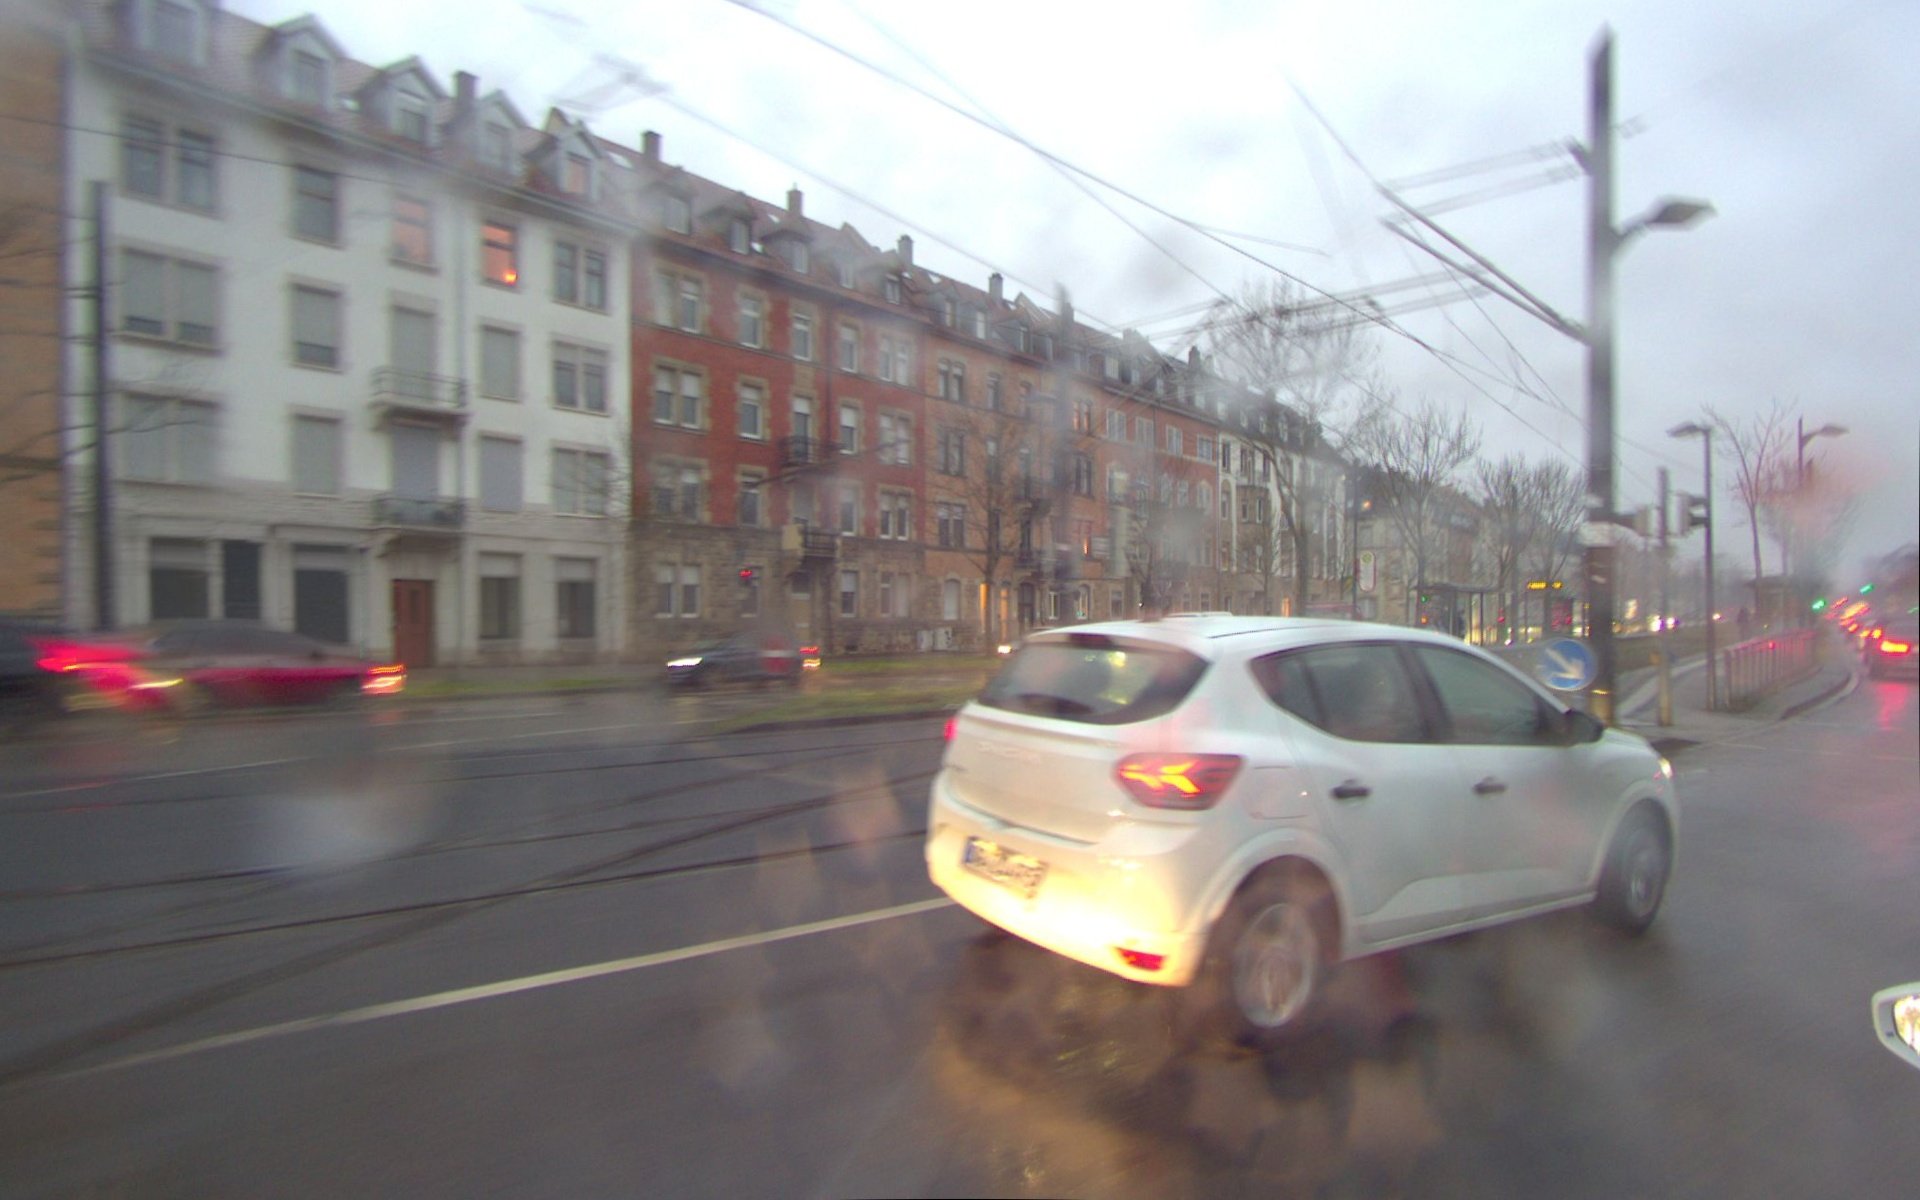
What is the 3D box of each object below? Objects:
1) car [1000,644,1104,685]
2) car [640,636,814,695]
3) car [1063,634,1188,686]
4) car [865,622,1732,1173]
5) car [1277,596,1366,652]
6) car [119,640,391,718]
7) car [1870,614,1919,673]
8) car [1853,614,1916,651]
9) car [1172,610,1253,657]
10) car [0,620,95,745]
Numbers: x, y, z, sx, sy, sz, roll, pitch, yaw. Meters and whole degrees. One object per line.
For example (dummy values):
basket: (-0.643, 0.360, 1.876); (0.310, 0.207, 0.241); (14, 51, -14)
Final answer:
car: (3.239, 2.184, 34.643); (1.519, 1.243, 4.067); (-1, -1, 40)
car: (-5.689, 1.567, 24.883); (1.519, 1.243, 4.065); (-1, -1, 42)
car: (4.619, 1.589, 27.631); (1.518, 1.262, 4.068); (-1, -1, 40)
car: (1.699, 0.886, 4.603); (3.954, 1.507, 1.618); (0, -1, -32)
car: (16.223, 1.044, 44.899); (1.971, 2.340, 5.238); (-1, -1, 41)
car: (-12.422, 1.331, 17.841); (3.764, 1.149, 1.584); (1, -1, -44)
car: (24.864, 1.081, 25.852); (1.970, 1.416, 3.980); (-1, -1, 40)
car: (43.579, 1.515, 47.411); (1.970, 1.639, 3.980); (-1, -1, 40)
car: (11.153, 1.452, 44.223); (1.970, 1.966, 3.925); (-1, -1, 40)
car: (-13.465, 1.033, 12.465); (4.092, 1.573, 1.664); (1, -1, -43)
